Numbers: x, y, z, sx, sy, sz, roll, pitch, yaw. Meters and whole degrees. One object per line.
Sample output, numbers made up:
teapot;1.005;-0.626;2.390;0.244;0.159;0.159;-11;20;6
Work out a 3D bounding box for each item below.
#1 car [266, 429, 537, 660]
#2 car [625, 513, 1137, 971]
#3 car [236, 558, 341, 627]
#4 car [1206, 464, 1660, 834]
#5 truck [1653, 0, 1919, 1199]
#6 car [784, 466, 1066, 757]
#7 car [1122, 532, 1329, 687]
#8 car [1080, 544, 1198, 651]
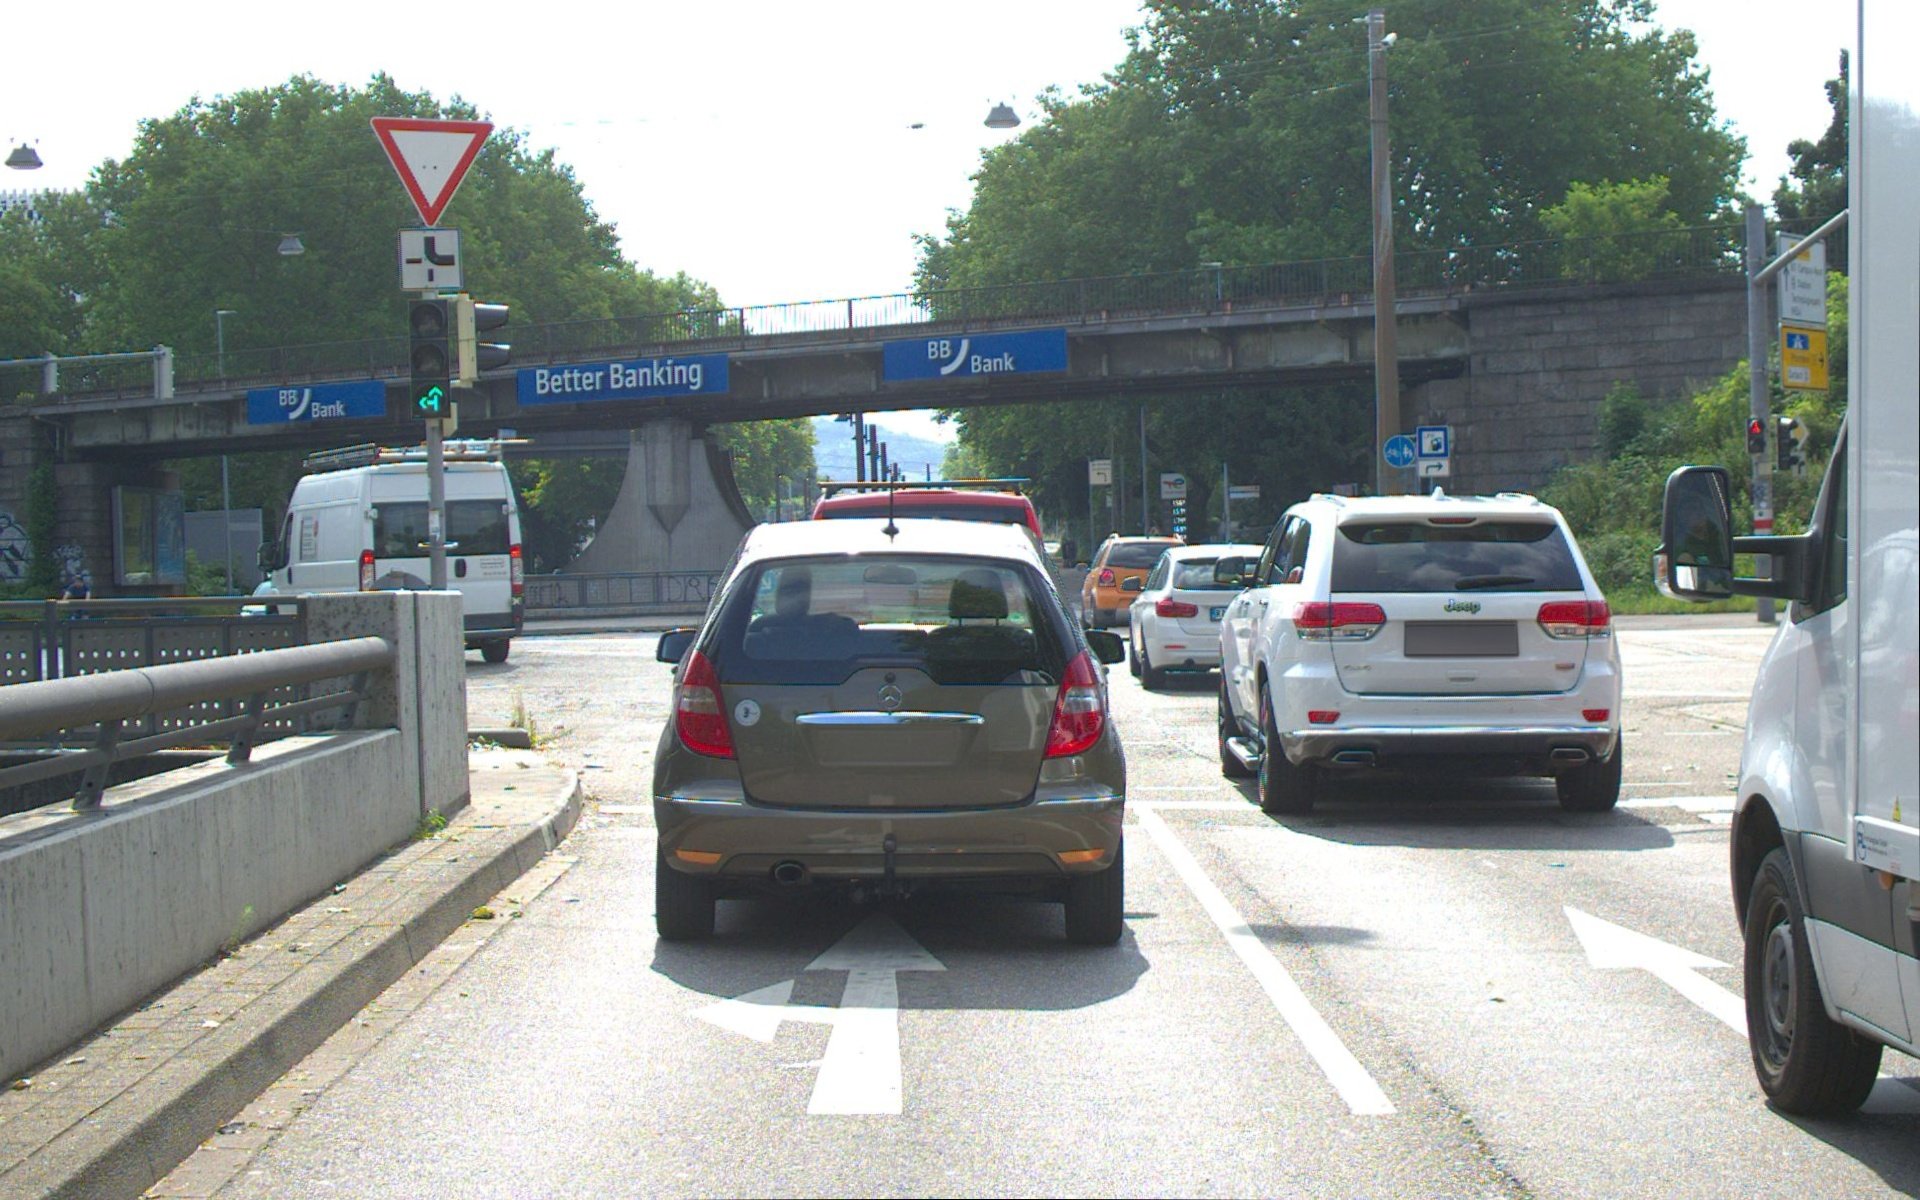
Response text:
car;-7.059;-0.641;43.039;2.197;2.717;4.932;0;0;-24
car;-0.278;0.466;13.949;1.792;1.603;3.799;0;1;0
car;-16.001;-0.187;82.037;1.702;1.471;4.000;-4;0;-1
car;2.582;0.191;19.870;1.995;1.895;4.509;0;2;0
truck;3.082;-0.161;6.497;2.447;3.110;6.028;0;0;1
car;-0.249;0.045;26.190;1.955;2.010;4.677;0;1;0
car;2.682;0.105;35.452;1.852;1.516;3.617;0;0;0
car;2.606;-0.030;50.733;1.544;1.516;3.617;0;0;0
